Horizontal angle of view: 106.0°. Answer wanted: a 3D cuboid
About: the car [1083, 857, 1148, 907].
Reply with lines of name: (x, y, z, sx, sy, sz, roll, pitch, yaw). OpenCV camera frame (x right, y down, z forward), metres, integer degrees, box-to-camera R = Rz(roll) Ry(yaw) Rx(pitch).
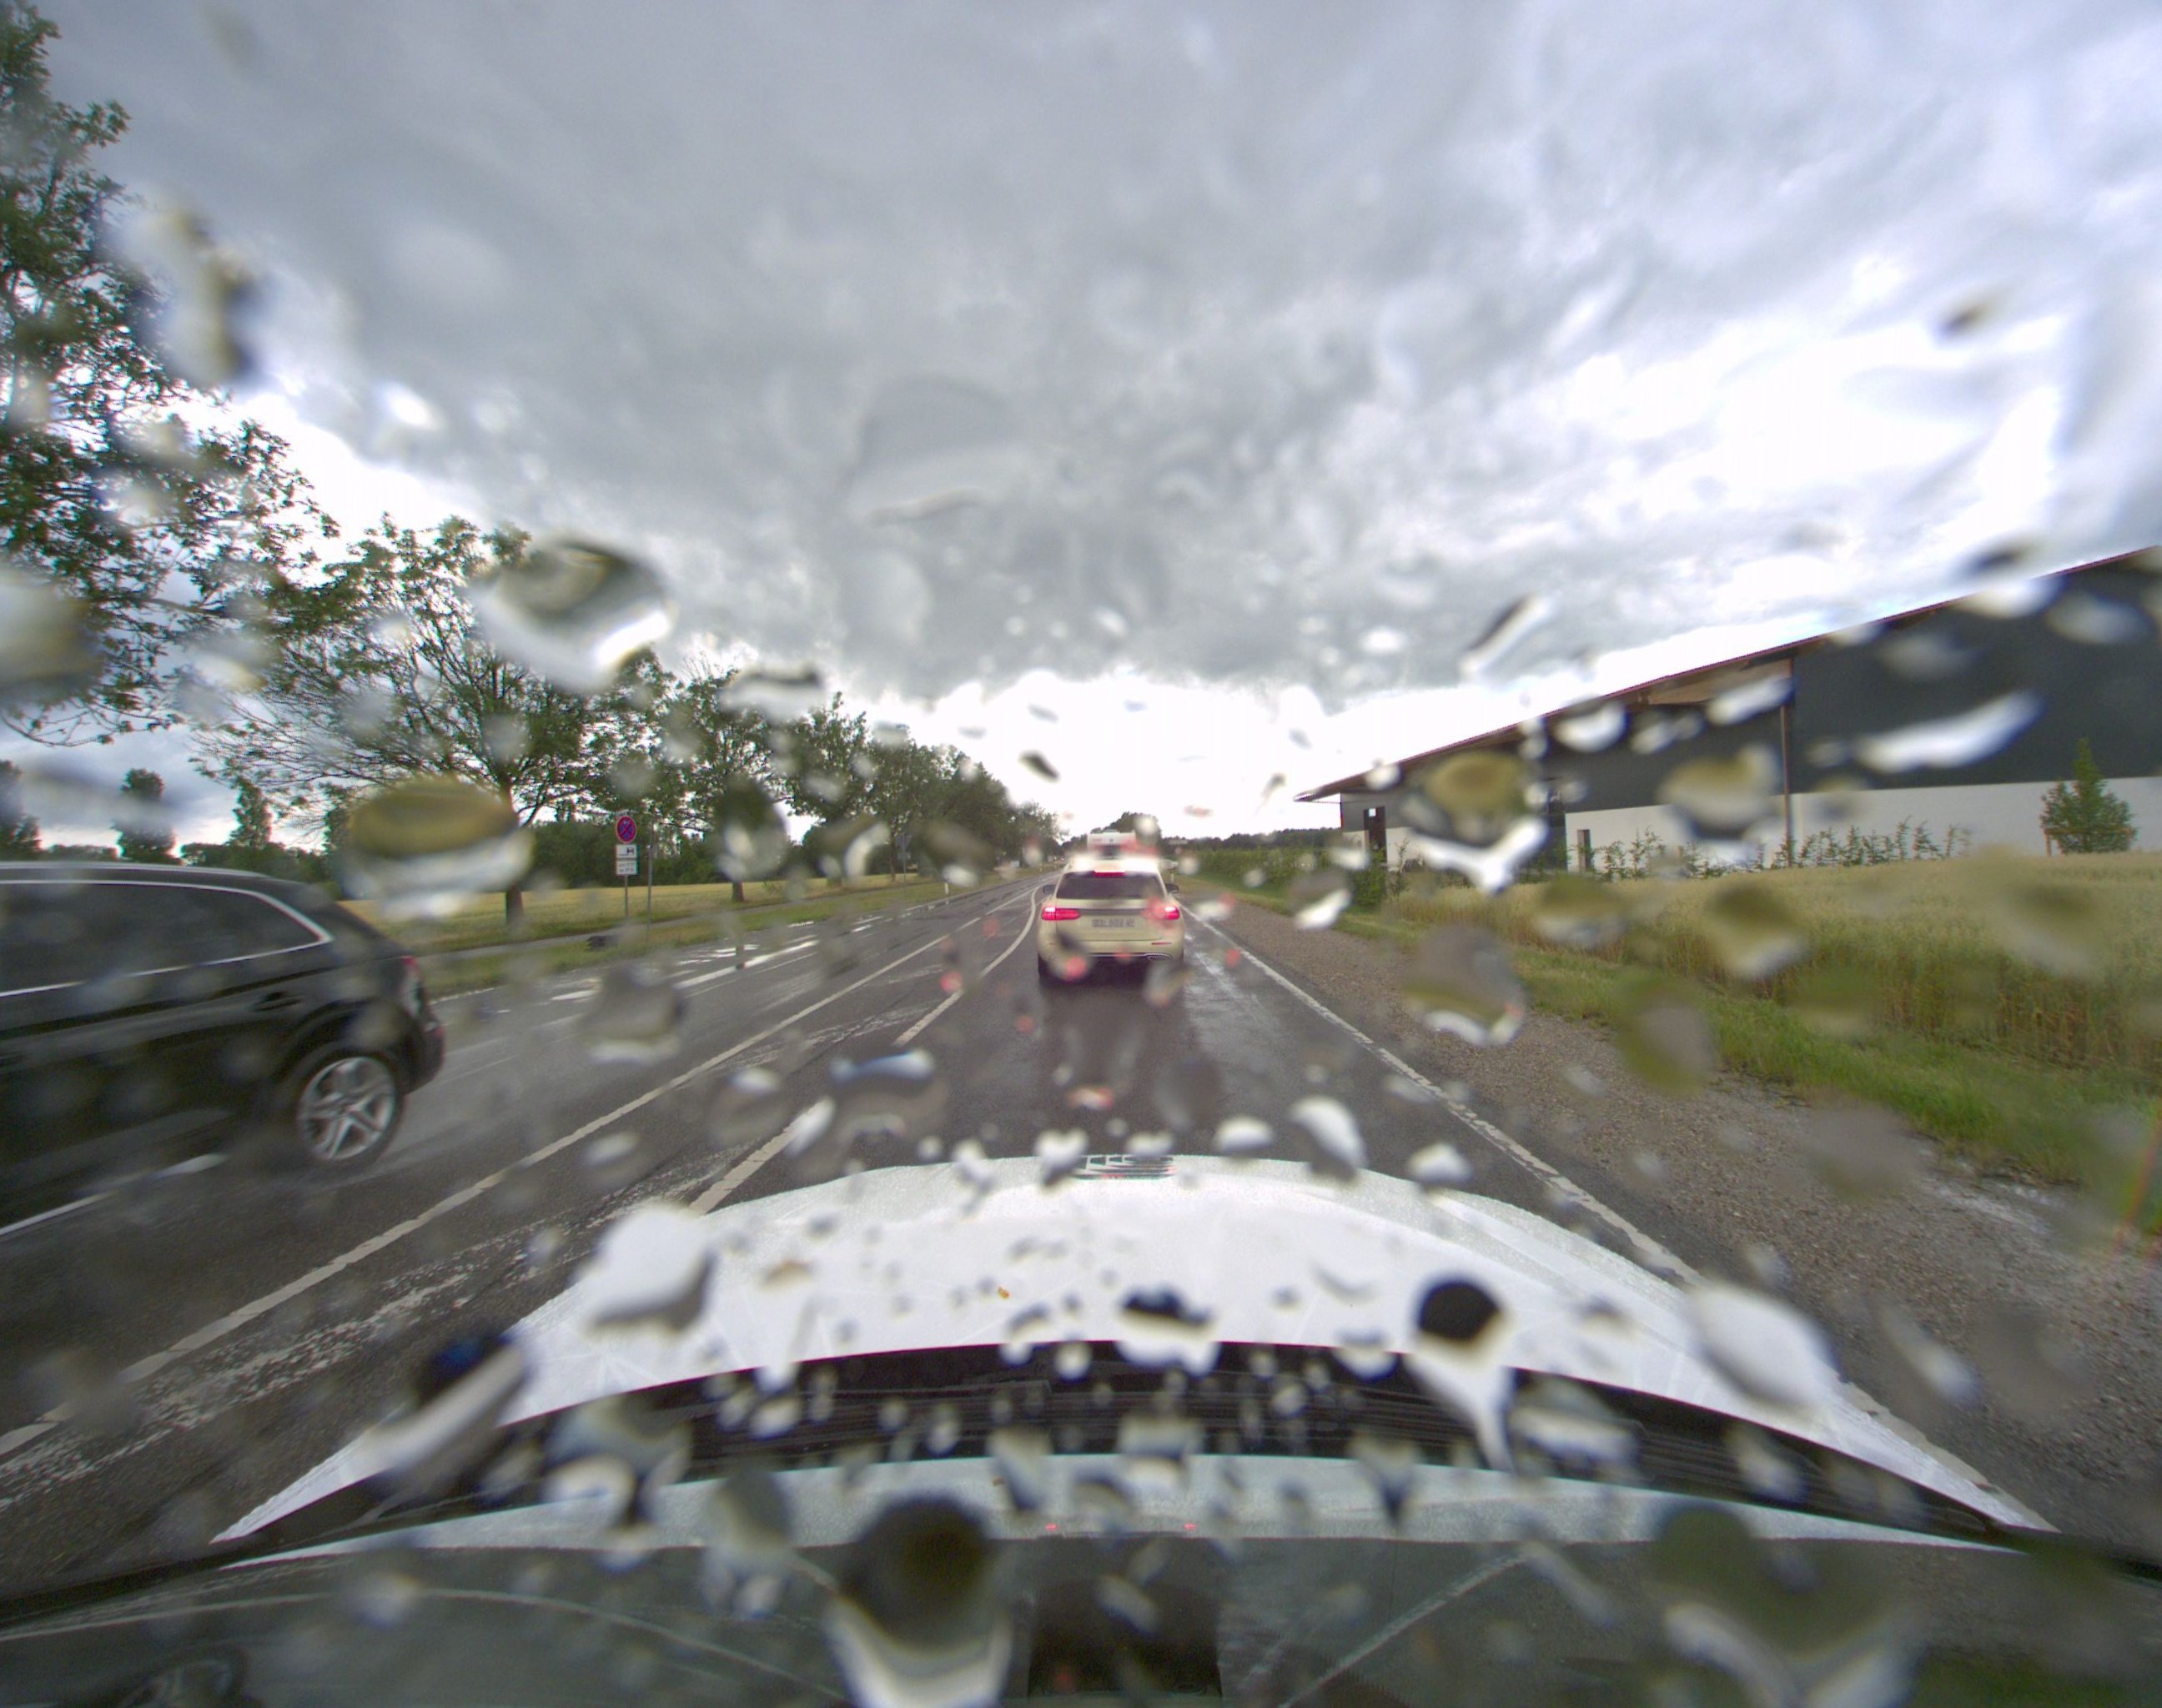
car: (1.052, 0.827, 26.021, 1.888, 1.429, 3.928, -1, 0, 1)

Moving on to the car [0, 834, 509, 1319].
car: (-4.632, 0.836, 2.877, 1.909, 1.632, 4.359, -6, 0, 2)

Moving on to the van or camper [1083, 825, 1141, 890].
van or camper: (1.565, 0.182, 40.347, 2.487, 2.831, 5.938, -3, 0, 3)

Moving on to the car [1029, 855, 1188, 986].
car: (0.394, 0.763, 11.317, 1.790, 1.464, 4.033, -1, 0, 2)
